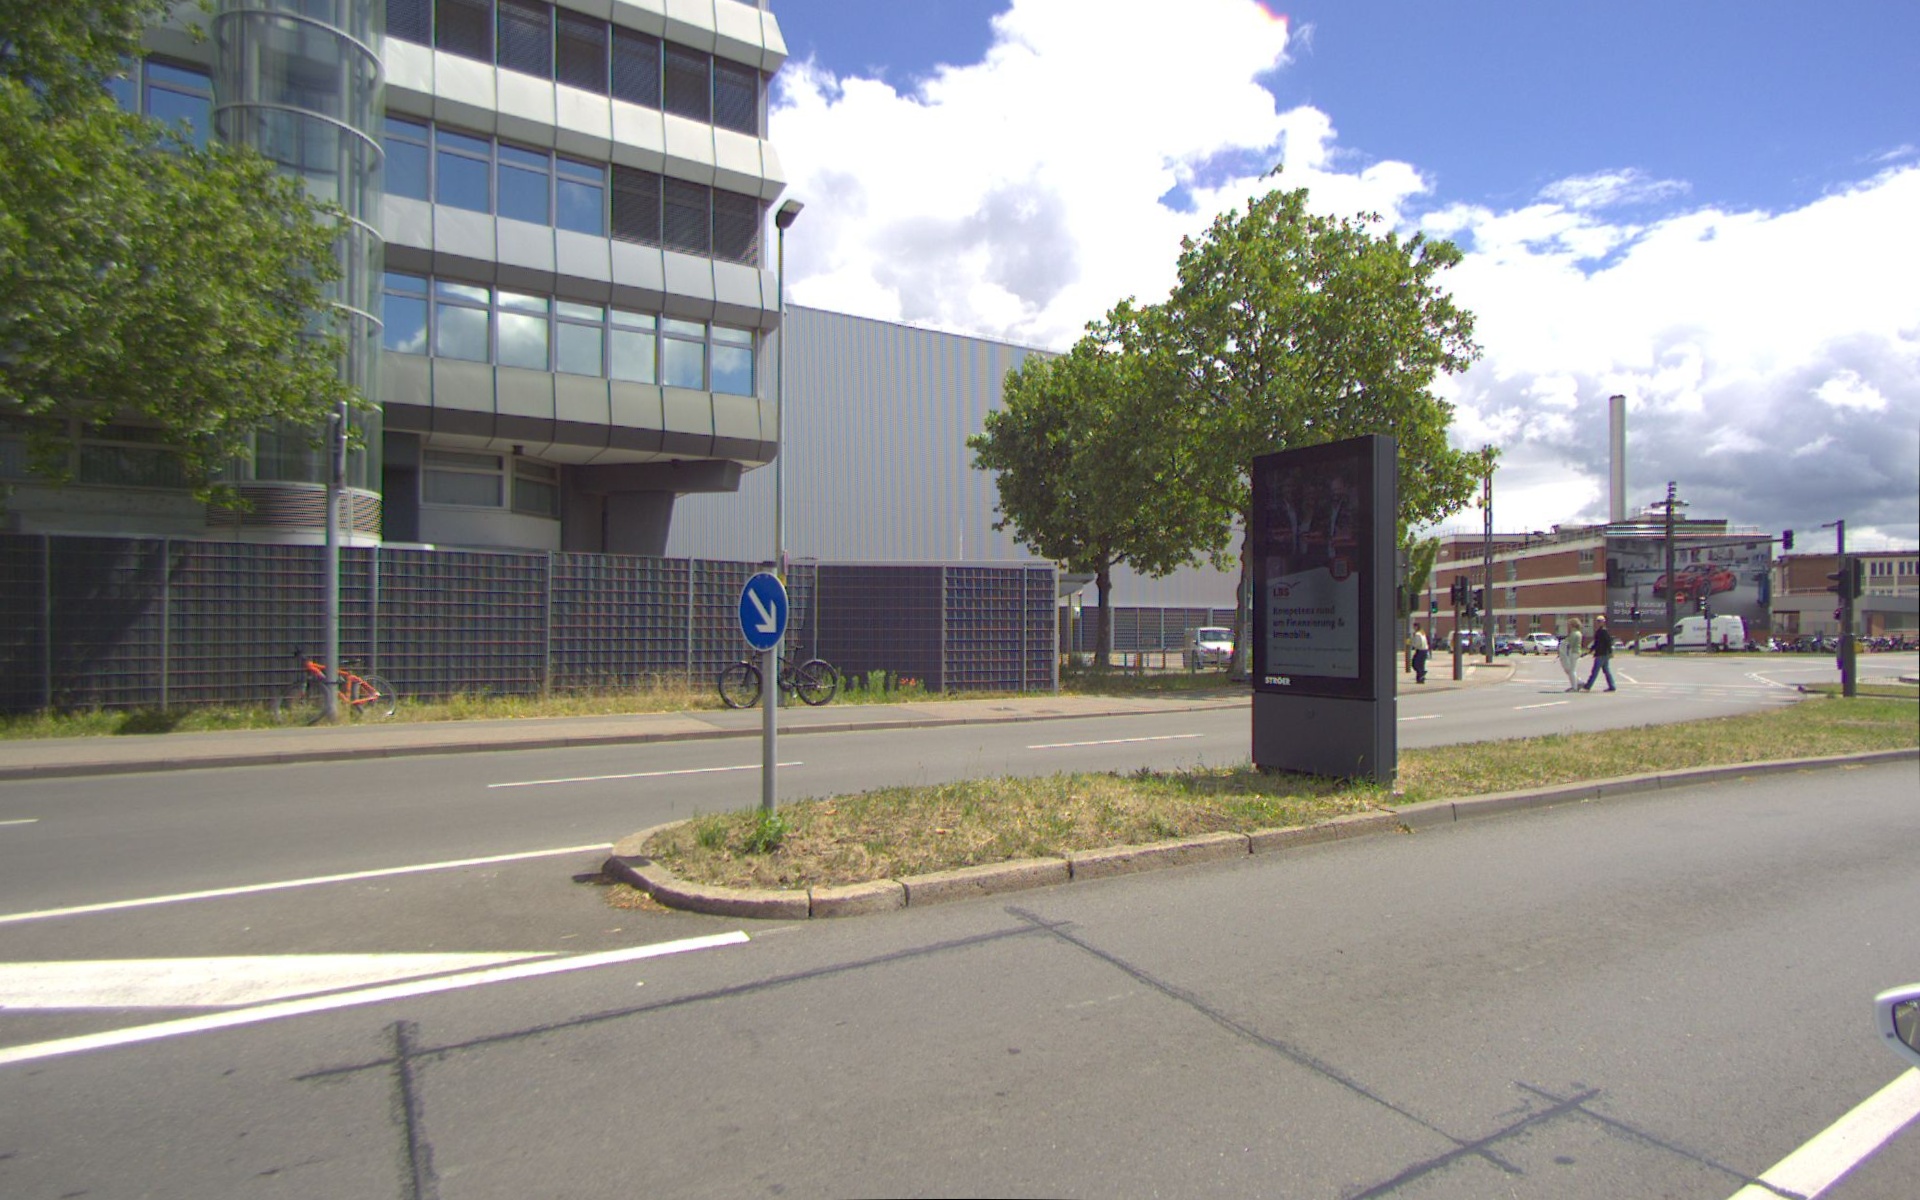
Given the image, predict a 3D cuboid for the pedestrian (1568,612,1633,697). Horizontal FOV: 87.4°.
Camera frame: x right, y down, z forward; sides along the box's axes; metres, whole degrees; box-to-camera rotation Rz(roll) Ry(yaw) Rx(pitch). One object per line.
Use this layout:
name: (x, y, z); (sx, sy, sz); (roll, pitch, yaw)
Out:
pedestrian: (16.112, 1.355, 25.298); (0.935, 2.082, 0.953); (2, 0, -13)

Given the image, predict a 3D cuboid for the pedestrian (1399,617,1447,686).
pedestrian: (12.448, 1.368, 27.004); (0.854, 1.797, 1.029); (2, 0, 45)

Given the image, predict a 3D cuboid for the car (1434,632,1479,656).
car: (37.109, 3.262, 75.159); (1.959, 1.645, 4.294); (2, 0, 12)

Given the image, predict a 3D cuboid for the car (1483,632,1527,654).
car: (42.402, 3.313, 78.205); (1.788, 1.577, 4.227); (2, 0, 11)

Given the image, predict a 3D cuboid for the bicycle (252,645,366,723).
bicycle: (-8.809, 1.139, 13.618); (1.234, 1.019, 0.296); (2, 0, -22)

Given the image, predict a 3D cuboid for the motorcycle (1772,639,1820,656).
motorcycle: (65.619, 3.697, 78.890); (0.904, 1.211, 2.905); (2, 0, -13)

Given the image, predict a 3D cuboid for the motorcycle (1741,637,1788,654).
motorcycle: (62.912, 3.555, 78.590); (0.904, 1.211, 2.905); (2, 0, -13)

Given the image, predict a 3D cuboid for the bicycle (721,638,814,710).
bicycle: (-3.160, 1.216, 16.562); (1.467, 1.146, 0.295); (2, 0, -29)

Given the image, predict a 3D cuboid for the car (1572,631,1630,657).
car: (43.808, 2.974, 68.754); (1.959, 1.598, 4.003); (2, 0, 11)

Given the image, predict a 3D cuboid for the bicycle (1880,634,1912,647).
bicycle: (65.306, 2.791, 70.083); (1.578, 0.878, 0.493); (-1, -1, 10)

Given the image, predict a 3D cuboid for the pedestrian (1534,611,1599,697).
pedestrian: (15.120, 1.325, 25.048); (0.935, 2.082, 0.953); (2, 0, -13)

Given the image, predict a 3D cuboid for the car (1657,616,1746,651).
car: (51.480, 2.282, 69.815); (1.970, 2.199, 4.633); (2, 0, -21)

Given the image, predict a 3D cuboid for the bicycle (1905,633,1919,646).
bicycle: (64.094, 2.618, 66.938); (1.578, 0.878, 0.493); (-1, -1, 9)

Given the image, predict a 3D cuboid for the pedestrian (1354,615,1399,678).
pedestrian: (12.273, 1.367, 29.608); (0.854, 1.797, 1.029); (2, 0, 45)

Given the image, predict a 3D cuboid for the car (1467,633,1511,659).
car: (36.471, 3.163, 69.352); (1.767, 1.577, 3.960); (2, 0, 14)

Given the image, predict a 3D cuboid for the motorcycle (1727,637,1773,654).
motorcycle: (61.726, 3.560, 78.537); (0.904, 1.211, 2.905); (2, 0, -13)

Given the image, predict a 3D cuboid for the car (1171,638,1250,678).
car: (9.229, 2.120, 37.329); (1.688, 1.377, 3.998); (0, -2, -4)

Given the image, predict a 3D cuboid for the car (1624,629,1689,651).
car: (54.891, 3.148, 79.253); (1.965, 1.520, 3.991); (2, 0, -11)

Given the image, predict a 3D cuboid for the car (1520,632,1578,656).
car: (52.108, 3.841, 88.969); (2.169, 1.882, 4.512); (2, 0, -7)

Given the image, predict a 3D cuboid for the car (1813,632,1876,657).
car: (71.131, 3.573, 80.830); (1.676, 1.828, 3.472); (2, 0, -15)

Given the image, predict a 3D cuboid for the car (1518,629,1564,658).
car: (40.429, 2.996, 69.980); (1.874, 1.820, 3.777); (2, 0, 16)
